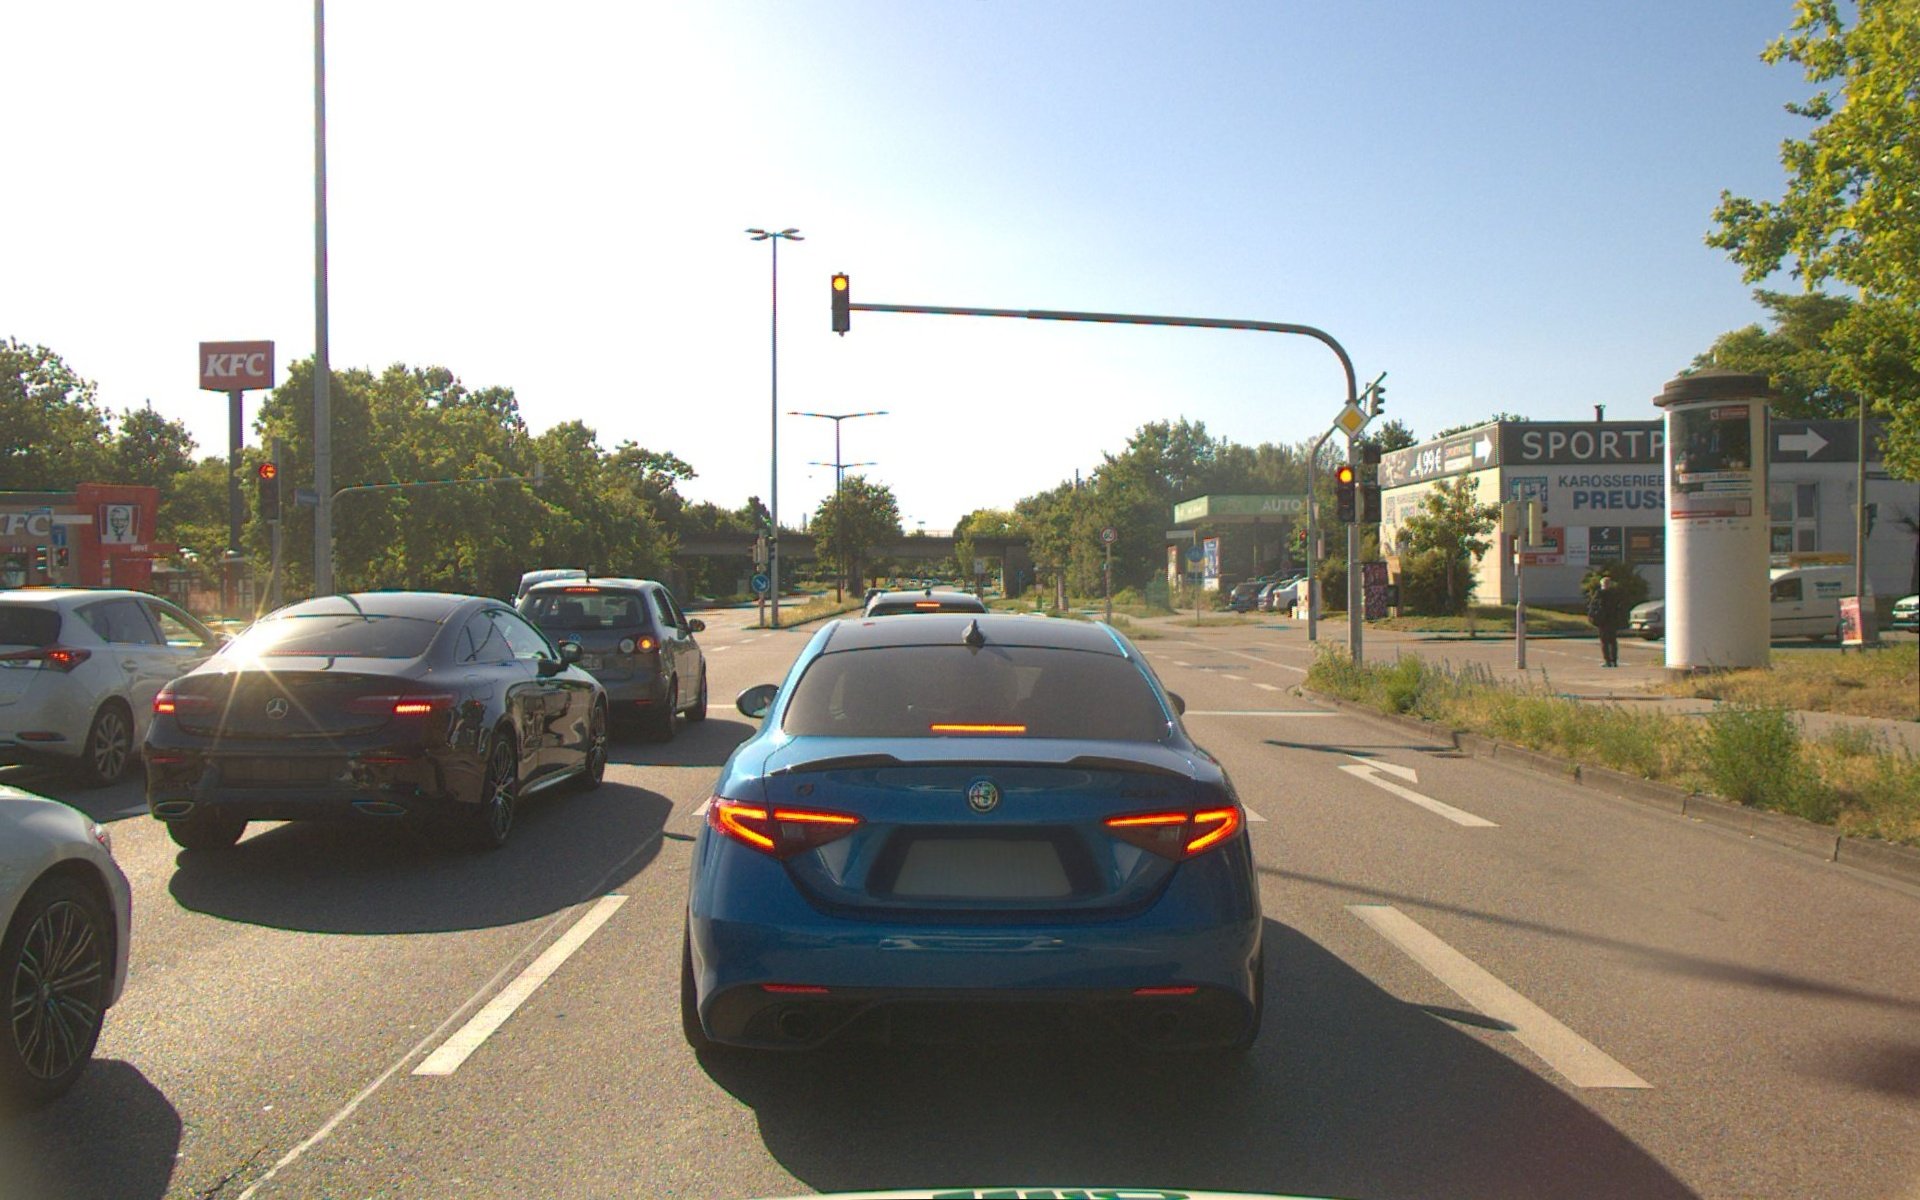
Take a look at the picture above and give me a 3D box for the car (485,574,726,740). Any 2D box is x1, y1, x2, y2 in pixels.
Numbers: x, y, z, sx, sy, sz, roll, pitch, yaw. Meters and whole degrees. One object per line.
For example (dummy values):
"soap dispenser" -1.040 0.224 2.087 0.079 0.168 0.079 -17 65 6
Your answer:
"car" -3.623 0.543 17.657 1.723 1.516 4.401 1 0 -2

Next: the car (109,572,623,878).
"car" -3.438 0.640 10.559 1.760 1.516 4.474 1 0 -2

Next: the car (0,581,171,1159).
"car" -3.343 0.689 3.055 1.749 1.516 4.401 1 0 -2

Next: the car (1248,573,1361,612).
"car" 14.631 -0.301 70.335 4.397 1.479 1.858 -2 0 1

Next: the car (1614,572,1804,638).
"car" 19.597 0.108 43.383 4.201 1.576 1.764 -1 2 -2

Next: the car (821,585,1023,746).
"car" -0.412 0.605 17.229 1.813 1.443 4.401 1 0 -2

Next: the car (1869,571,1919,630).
"car" 26.434 -0.050 43.622 3.960 1.516 1.782 -2 0 -3

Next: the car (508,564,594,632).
"car" -16.346 -0.069 66.355 1.981 2.489 5.820 -3 0 -1

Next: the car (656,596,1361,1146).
"car" 0.069 0.735 6.601 1.857 1.443 4.401 1 0 -2

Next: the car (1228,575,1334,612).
"car" 14.402 -0.293 74.382 4.397 1.479 1.858 -2 0 1

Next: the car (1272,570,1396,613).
"car" 14.610 -0.324 64.802 4.397 1.479 1.858 -2 0 1

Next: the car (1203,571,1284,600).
"car" 16.725 -0.853 97.590 4.457 1.516 1.765 -2 0 1

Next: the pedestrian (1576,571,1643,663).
"pedestrian" 12.625 0.328 32.159 0.906 1.765 0.938 1 -1 -1

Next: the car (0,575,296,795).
"car" -7.103 0.587 13.537 1.723 1.516 4.195 1 0 -2

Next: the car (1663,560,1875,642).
"car" 19.547 -0.005 40.045 4.293 1.833 1.764 -1 2 -2

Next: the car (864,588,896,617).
"car" -5.113 0.171 106.333 1.853 1.847 3.999 1 0 -1

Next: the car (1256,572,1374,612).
"car" 14.486 -0.324 67.579 4.397 1.479 1.858 -2 0 1
